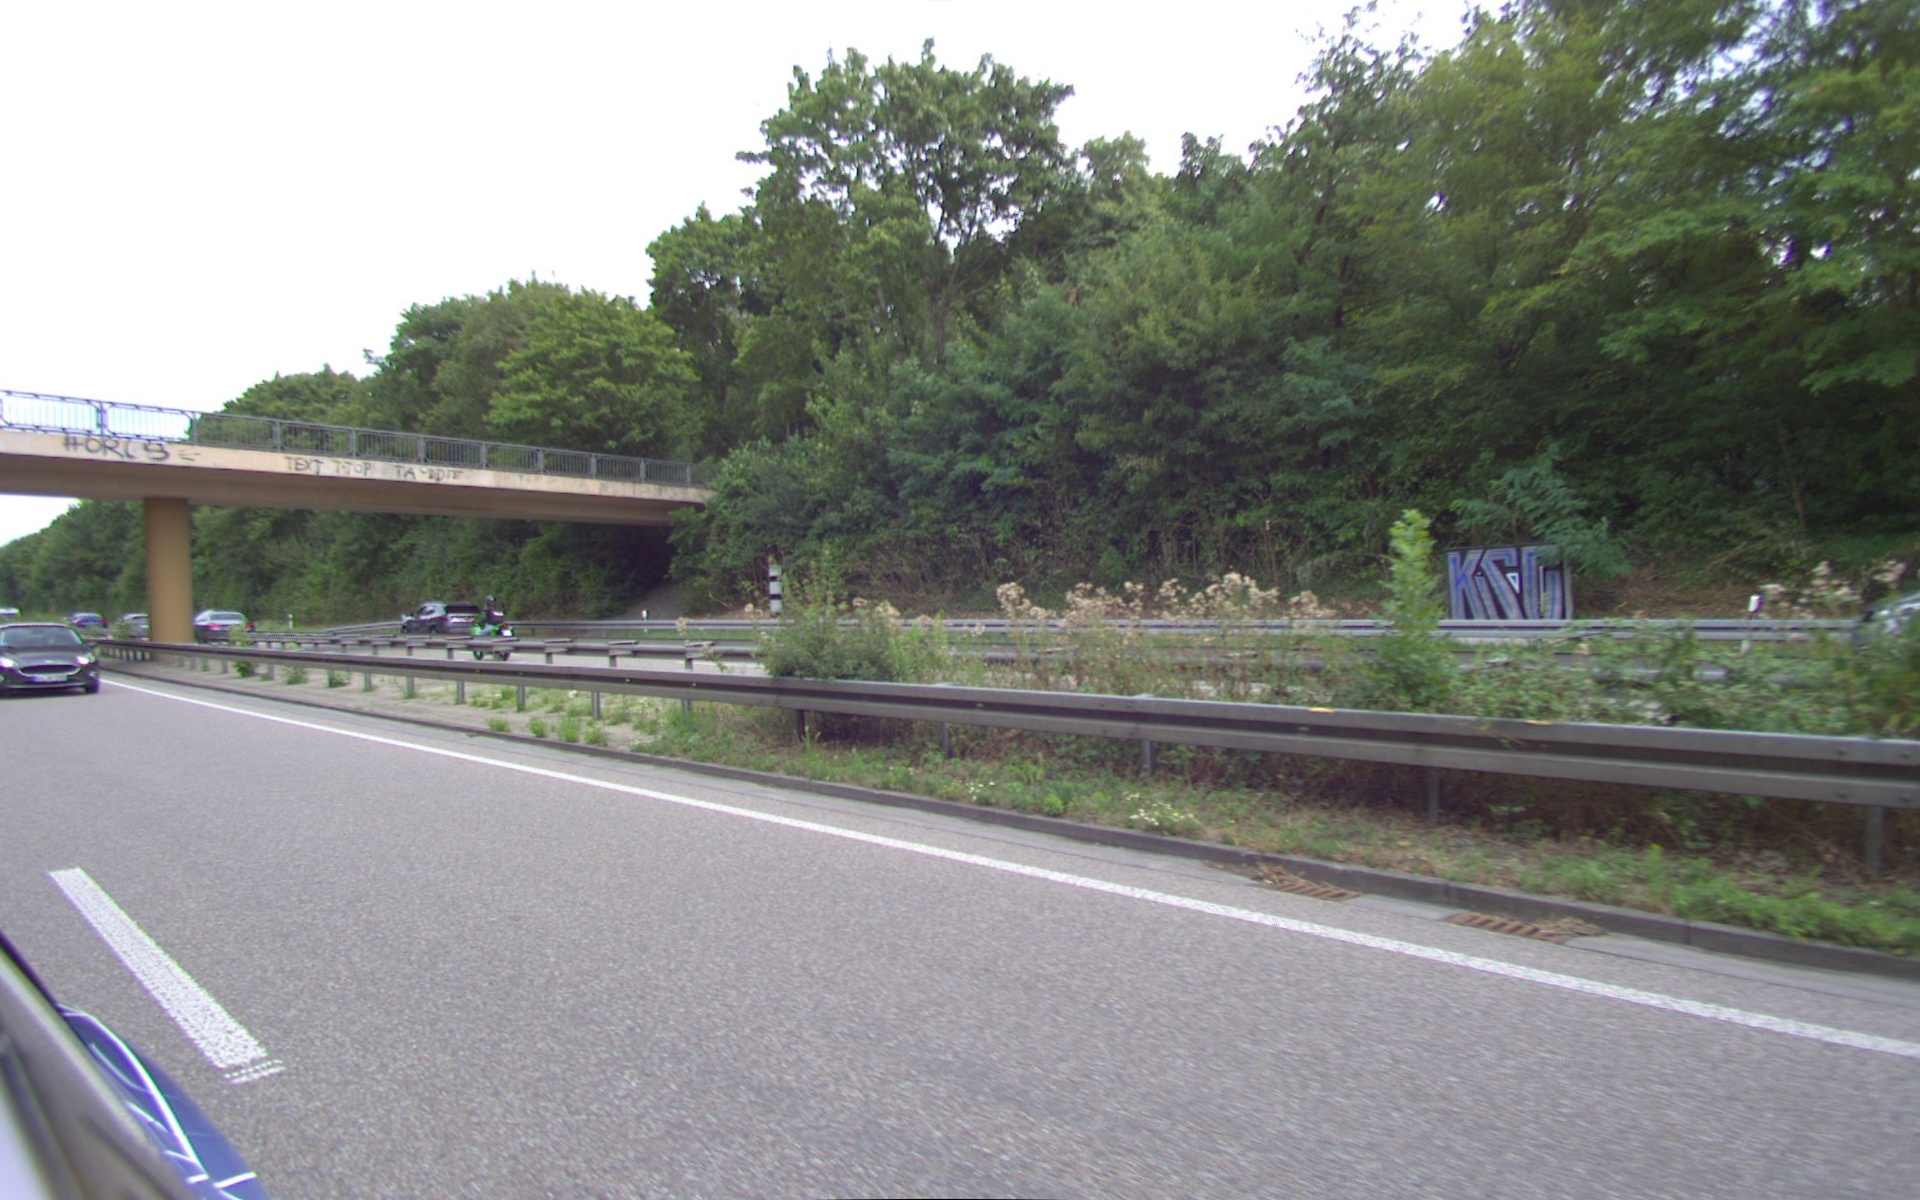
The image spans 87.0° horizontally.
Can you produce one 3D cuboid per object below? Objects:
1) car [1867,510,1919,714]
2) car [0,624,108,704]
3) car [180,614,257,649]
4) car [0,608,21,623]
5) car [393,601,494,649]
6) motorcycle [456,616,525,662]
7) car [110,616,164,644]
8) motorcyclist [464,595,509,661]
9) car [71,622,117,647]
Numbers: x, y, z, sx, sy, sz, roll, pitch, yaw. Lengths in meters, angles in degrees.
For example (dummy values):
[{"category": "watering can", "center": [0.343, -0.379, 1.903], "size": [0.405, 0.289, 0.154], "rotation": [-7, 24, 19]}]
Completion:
[{"category": "car", "center": [11.896, 0.094, 9.249], "size": [5.299, 2.029, 1.777], "rotation": [-1, -1, 41]}, {"category": "car", "center": [-19.391, 1.256, 21.145], "size": [4.638, 1.469, 1.807], "rotation": [-1, -1, 42]}, {"category": "car", "center": [-31.415, 1.297, 42.818], "size": [4.935, 1.391, 1.671], "rotation": [-1, -1, 42]}, {"category": "car", "center": [-108.796, 1.793, 115.324], "size": [4.638, 1.664, 2.164], "rotation": [-1, -1, 42]}, {"category": "car", "center": [-19.466, 0.912, 38.043], "size": [4.638, 1.664, 1.873], "rotation": [-1, -1, 42]}, {"category": "motorcycle", "center": [-11.375, 0.922, 24.477], "size": [2.195, 1.075, 0.694], "rotation": [-1, -1, 42]}, {"category": "car", "center": [-44.678, 1.608, 54.901], "size": [3.989, 1.474, 1.671], "rotation": [-1, -1, 42]}, {"category": "motorcyclist", "center": [-11.528, 0.667, 24.628], "size": [0.846, 1.560, 0.673], "rotation": [-1, 1, 41]}, {"category": "car", "center": [-60.821, 2.377, 71.032], "size": [4.638, 1.664, 1.873], "rotation": [-1, -1, 42]}]
